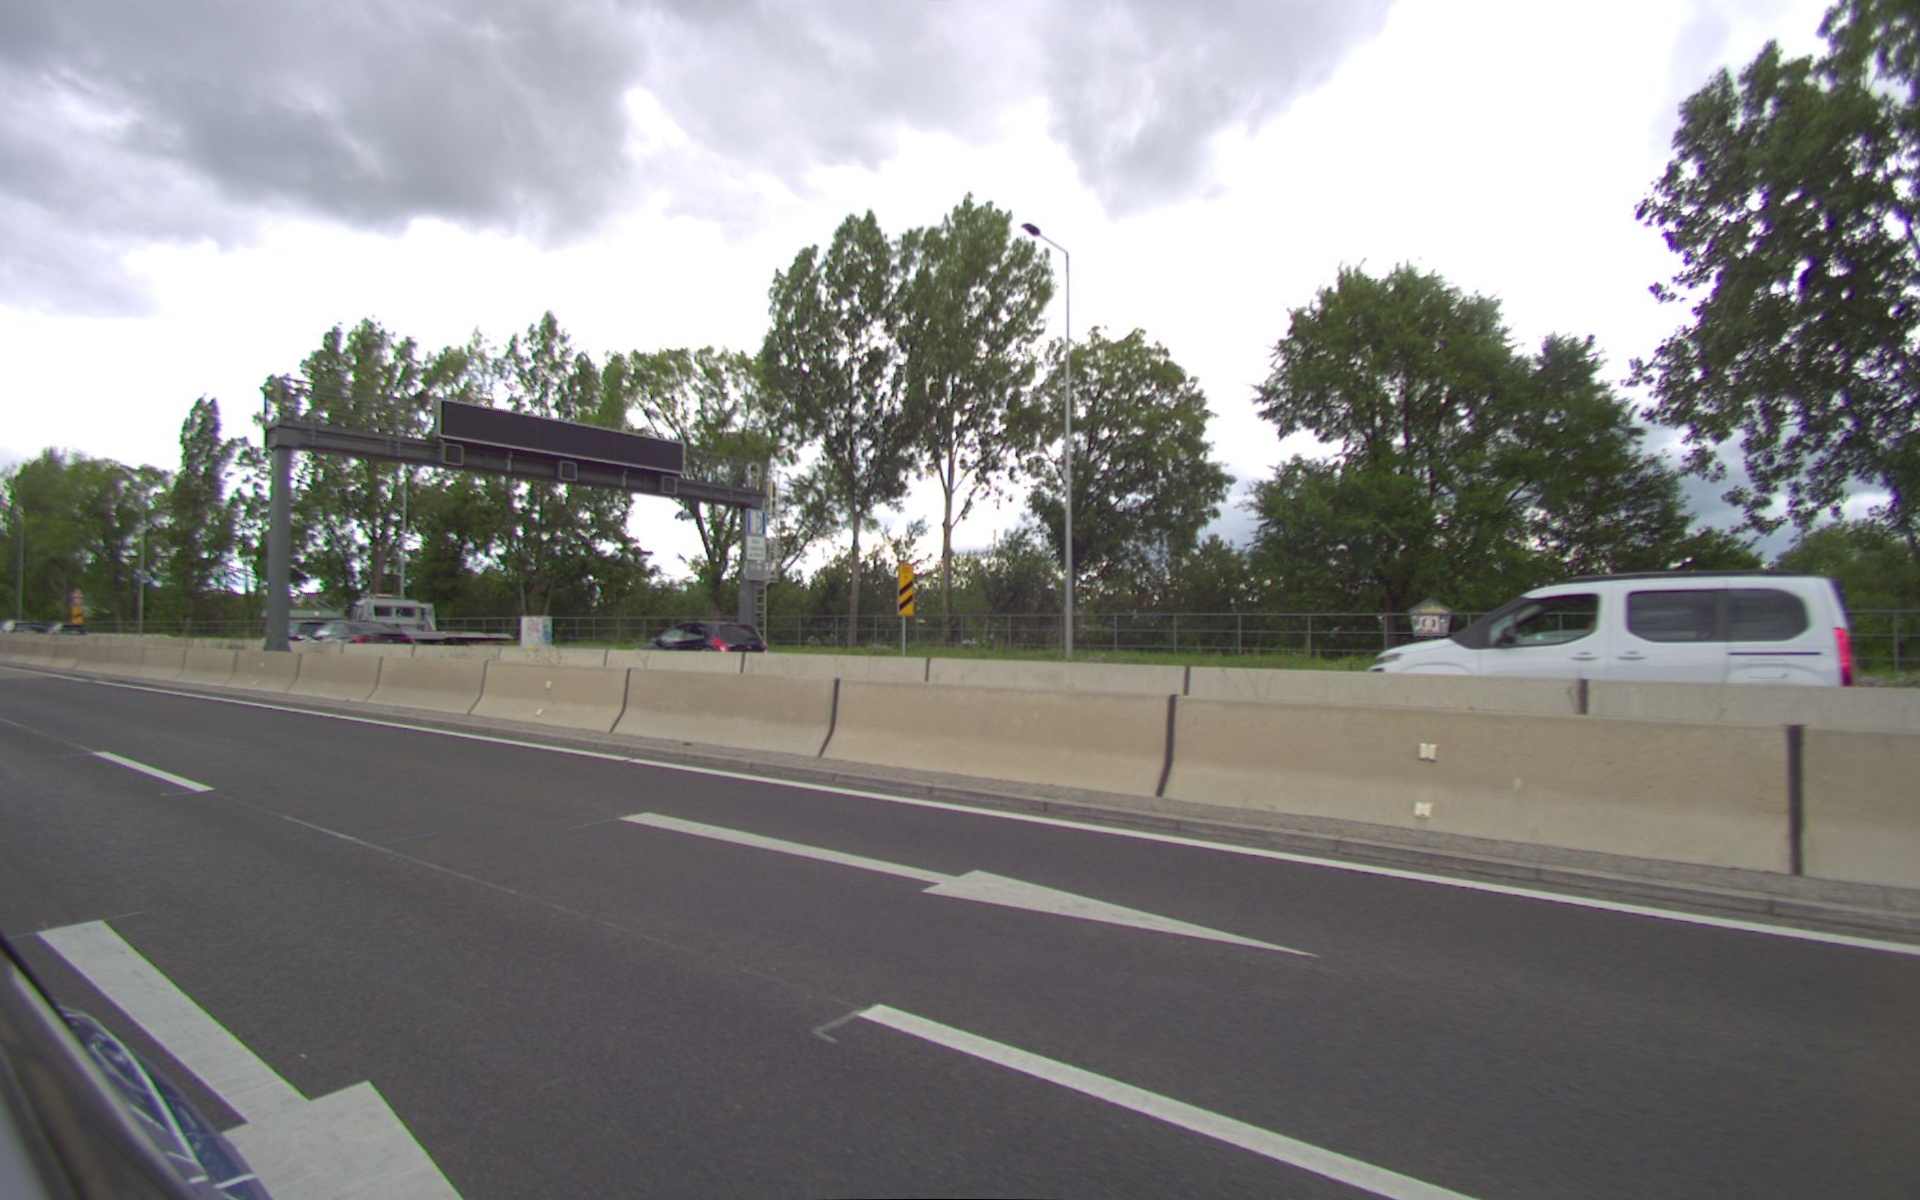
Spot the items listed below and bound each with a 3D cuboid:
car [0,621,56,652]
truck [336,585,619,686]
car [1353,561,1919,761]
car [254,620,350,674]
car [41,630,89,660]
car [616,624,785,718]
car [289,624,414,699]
[{"bbox_3d":[-52.103,2.015,56.384,4.451,1.630,1.907,-2,0,40],"label":"car"},{"bbox_3d":[-18.513,1.284,37.693,15.864,3.130,2.827,-2,0,38],"label":"truck"},{"bbox_3d":[6.765,0.536,10.403,4.692,1.630,1.974,-2,0,40],"label":"car"},{"bbox_3d":[-25.124,1.754,38.612,4.094,1.891,1.799,-2,0,38],"label":"car"},{"bbox_3d":[-63.991,3.203,72.360,3.996,2.029,1.974,-2,0,40],"label":"car"},{"bbox_3d":[-6.331,1.637,24.544,3.996,2.029,1.974,-2,0,39],"label":"car"},{"bbox_3d":[-17.368,1.691,28.824,3.996,1.918,1.798,-2,0,39],"label":"car"}]
